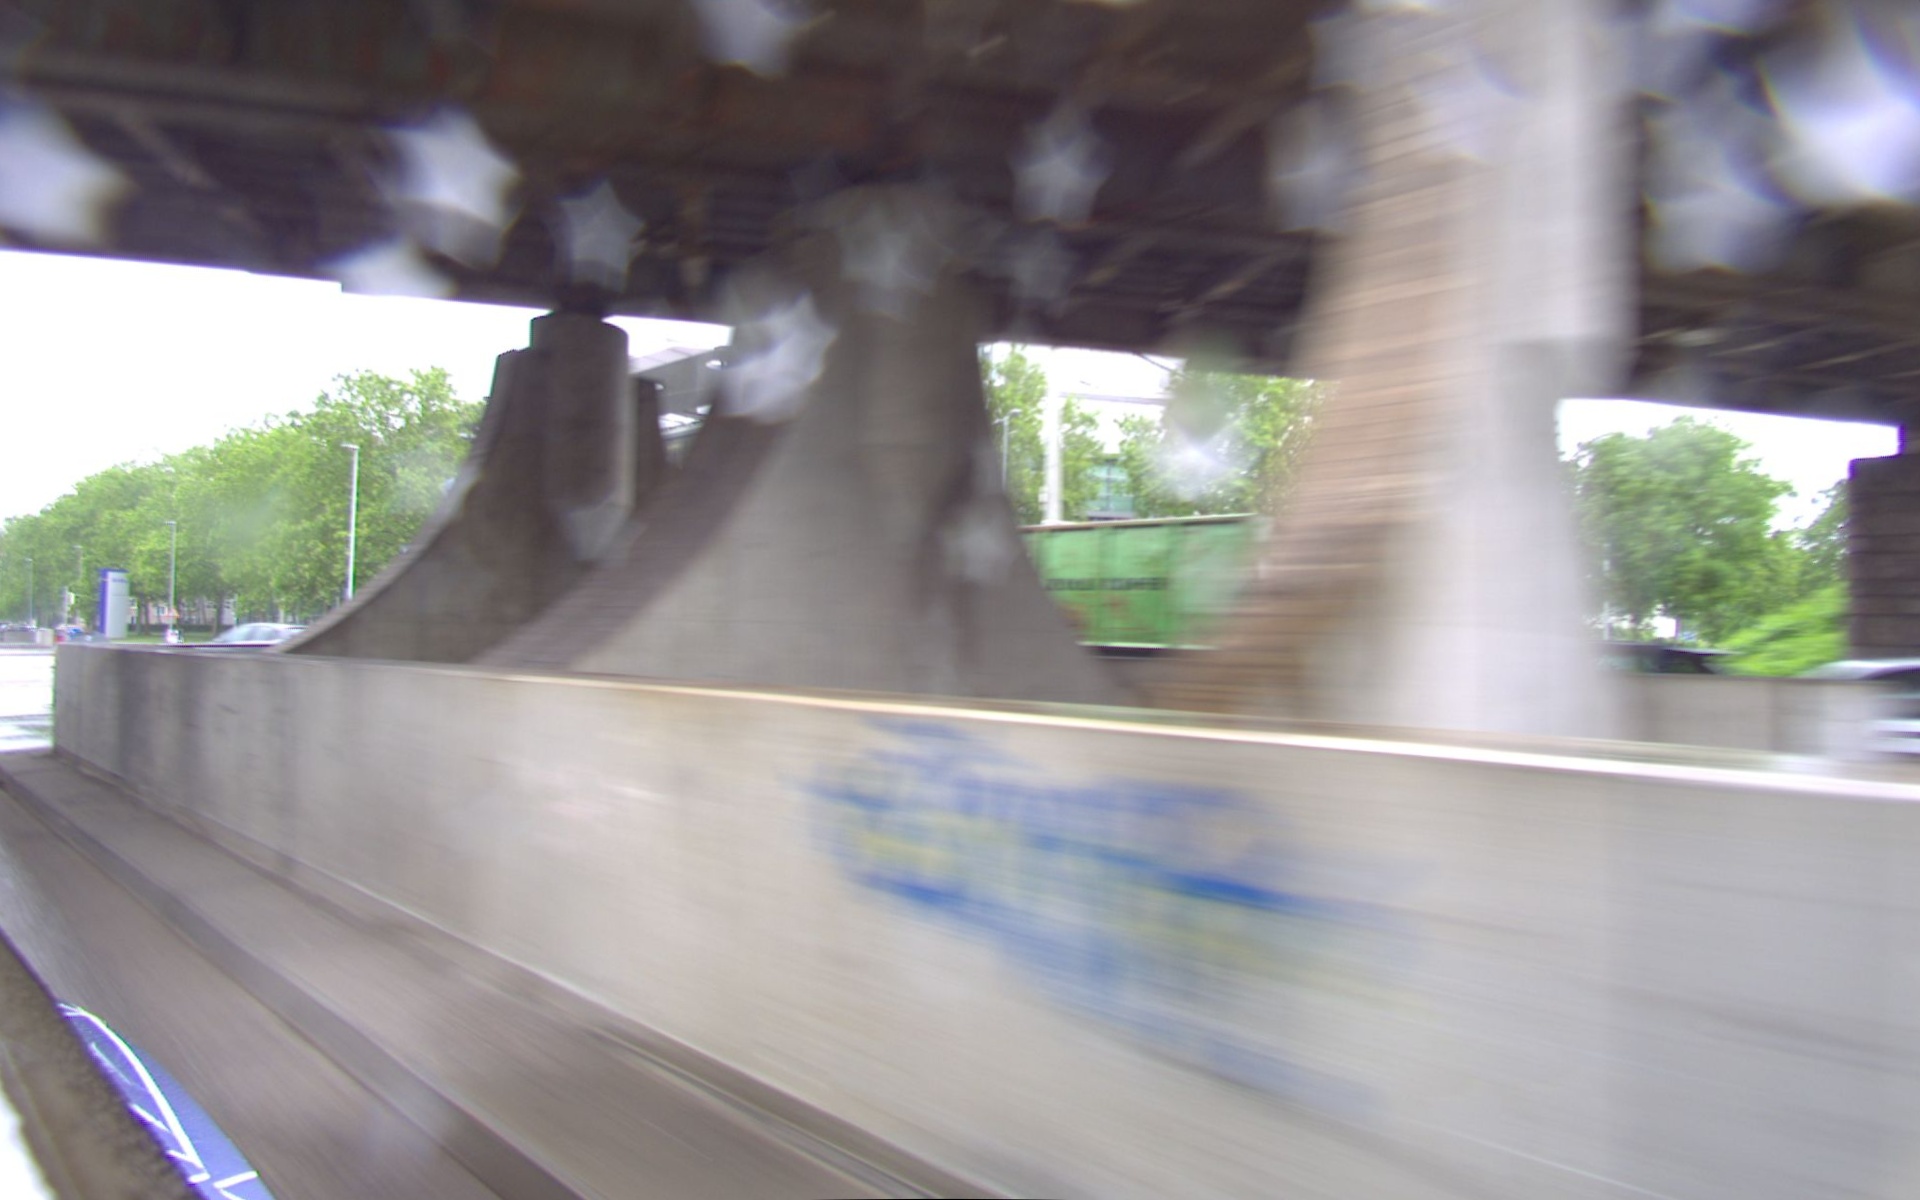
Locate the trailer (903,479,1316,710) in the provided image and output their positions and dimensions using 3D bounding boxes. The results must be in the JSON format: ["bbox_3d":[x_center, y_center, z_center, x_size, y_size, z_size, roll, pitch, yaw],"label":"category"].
[{"bbox_3d":[2.803,0.026,21.361,8.515,4.017,2.653,-2,-3,41],"label":"trailer"}]

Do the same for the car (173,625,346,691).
[{"bbox_3d":[-18.022,1.460,26.059,3.970,1.558,1.649,0,-2,20],"label":"car"}]

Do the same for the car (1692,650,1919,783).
[{"bbox_3d":[12.571,1.505,13.232,1.954,1.586,4.524,3,-3,-40],"label":"car"}]

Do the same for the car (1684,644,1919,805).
[{"bbox_3d":[8.051,1.001,8.200,3.440,1.210,1.492,-1,-3,40],"label":"car"}]

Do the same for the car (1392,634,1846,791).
[{"bbox_3d":[8.117,1.264,12.783,4.547,1.586,1.959,-1,-3,40],"label":"car"}]

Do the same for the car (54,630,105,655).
[{"bbox_3d":[-59.446,2.853,68.329,4.166,1.644,1.881,-1,-3,40],"label":"car"}]

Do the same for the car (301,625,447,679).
[{"bbox_3d":[-17.822,1.542,30.743,4.666,1.497,1.728,0,-3,30],"label":"car"}]
